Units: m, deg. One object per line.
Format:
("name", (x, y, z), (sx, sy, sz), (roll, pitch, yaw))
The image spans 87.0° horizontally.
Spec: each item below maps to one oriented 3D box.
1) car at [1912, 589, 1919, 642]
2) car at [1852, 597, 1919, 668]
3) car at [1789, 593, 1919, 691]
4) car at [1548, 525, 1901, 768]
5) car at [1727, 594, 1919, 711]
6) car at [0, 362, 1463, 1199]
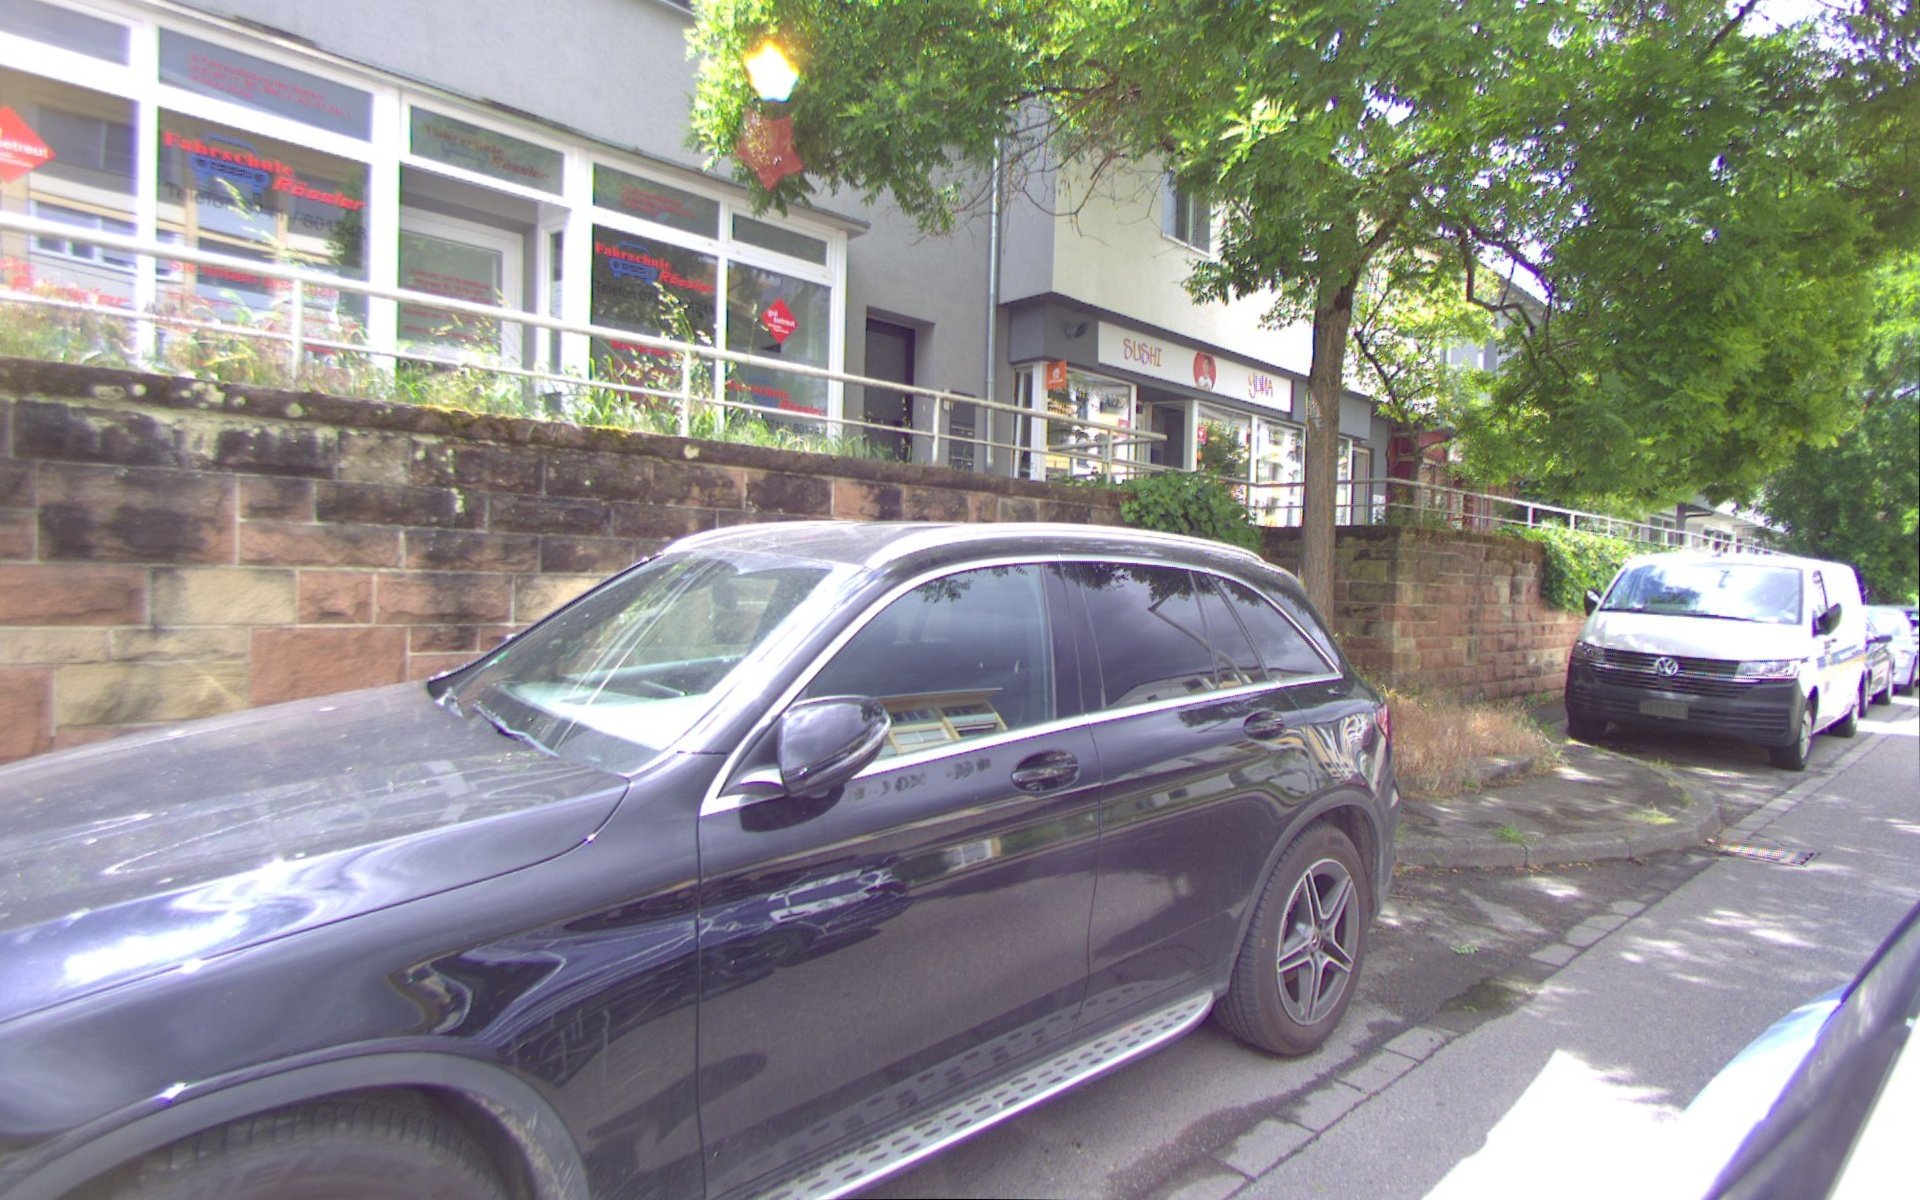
("car", (32.315, 0.516, 32.836), (4.078, 1.674, 1.816), (0, 2, -44))
("car", (21.286, 0.686, 22.395), (4.075, 1.446, 1.783), (0, 2, -41))
("car", (16.241, 0.660, 17.996), (4.076, 1.445, 1.783), (0, 4, -44))
("car", (8.202, 0.350, 10.655), (4.925, 1.994, 1.977), (0, 1, -41))
("car", (12.535, 0.661, 14.636), (3.669, 1.446, 1.577), (0, 1, -41))
("car", (-0.422, 0.496, 2.916), (4.371, 1.637, 1.793), (0, 4, -42))
